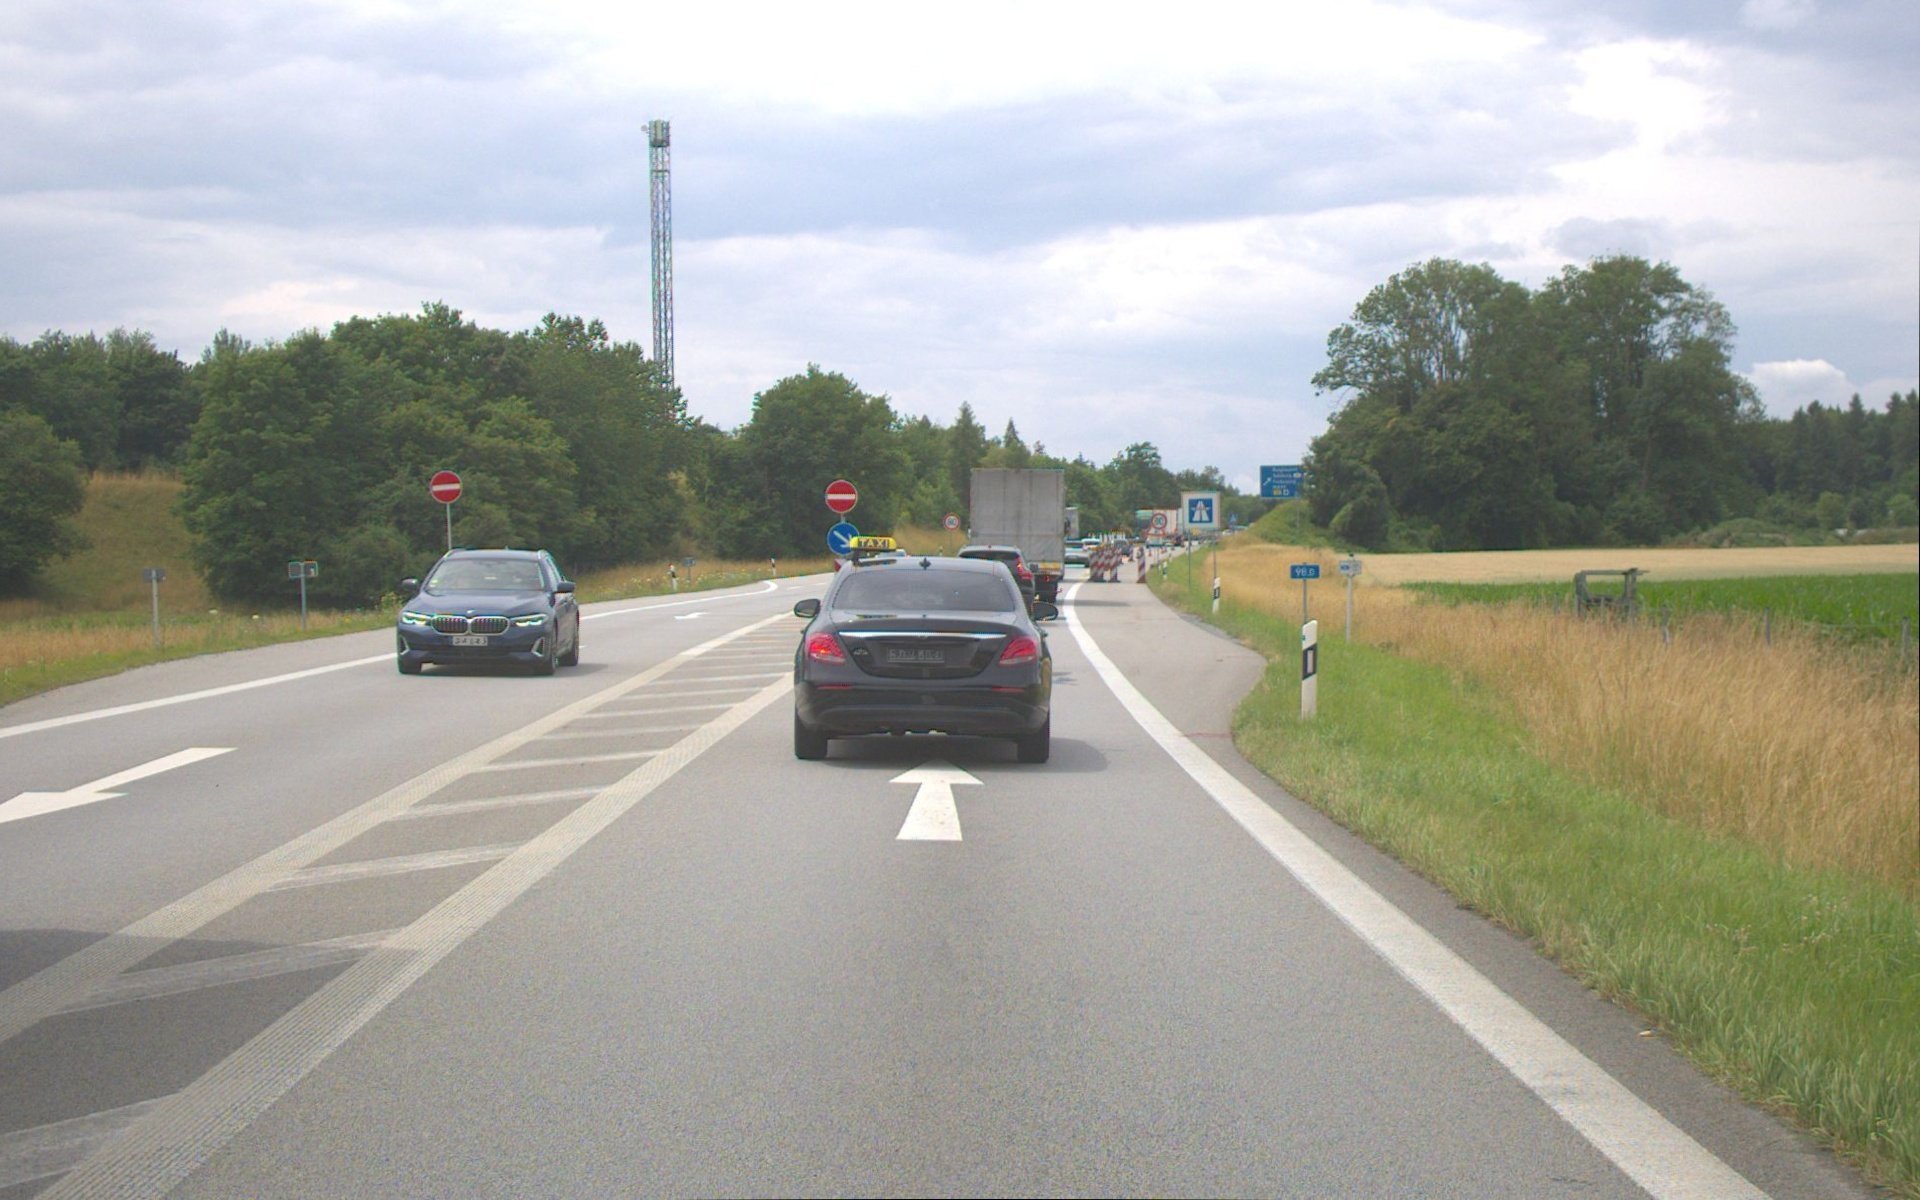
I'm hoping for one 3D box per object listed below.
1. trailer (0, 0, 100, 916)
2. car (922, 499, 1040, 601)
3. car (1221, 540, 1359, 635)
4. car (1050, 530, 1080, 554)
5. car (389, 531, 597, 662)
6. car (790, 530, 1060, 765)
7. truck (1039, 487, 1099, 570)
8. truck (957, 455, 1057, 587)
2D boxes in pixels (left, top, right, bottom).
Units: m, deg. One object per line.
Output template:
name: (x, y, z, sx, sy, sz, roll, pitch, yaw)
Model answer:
trailer: (-4.736, -0.710, 7.815, 2.489, 3.982, 13.077, 0, 1, -1)
car: (0.404, -1.018, 70.643, 1.993, 2.007, 4.001, 1, 0, -5)
car: (6.059, -0.247, 63.576, 1.795, 1.657, 4.001, 1, 0, -5)
car: (6.366, -3.544, 209.109, 1.649, 1.391, 3.706, 1, 0, -1)
car: (-5.669, -0.064, 42.292, 1.857, 1.474, 5.198, 1, 0, 0)
car: (-0.182, 0.304, 25.316, 1.796, 1.554, 4.000, 1, 0, 2)
truck: (4.764, -3.105, 150.589, 1.993, 3.513, 4.593, 1, 0, -5)
truck: (1.342, -2.167, 95.831, 2.587, 3.512, 4.812, 1, 0, 2)
